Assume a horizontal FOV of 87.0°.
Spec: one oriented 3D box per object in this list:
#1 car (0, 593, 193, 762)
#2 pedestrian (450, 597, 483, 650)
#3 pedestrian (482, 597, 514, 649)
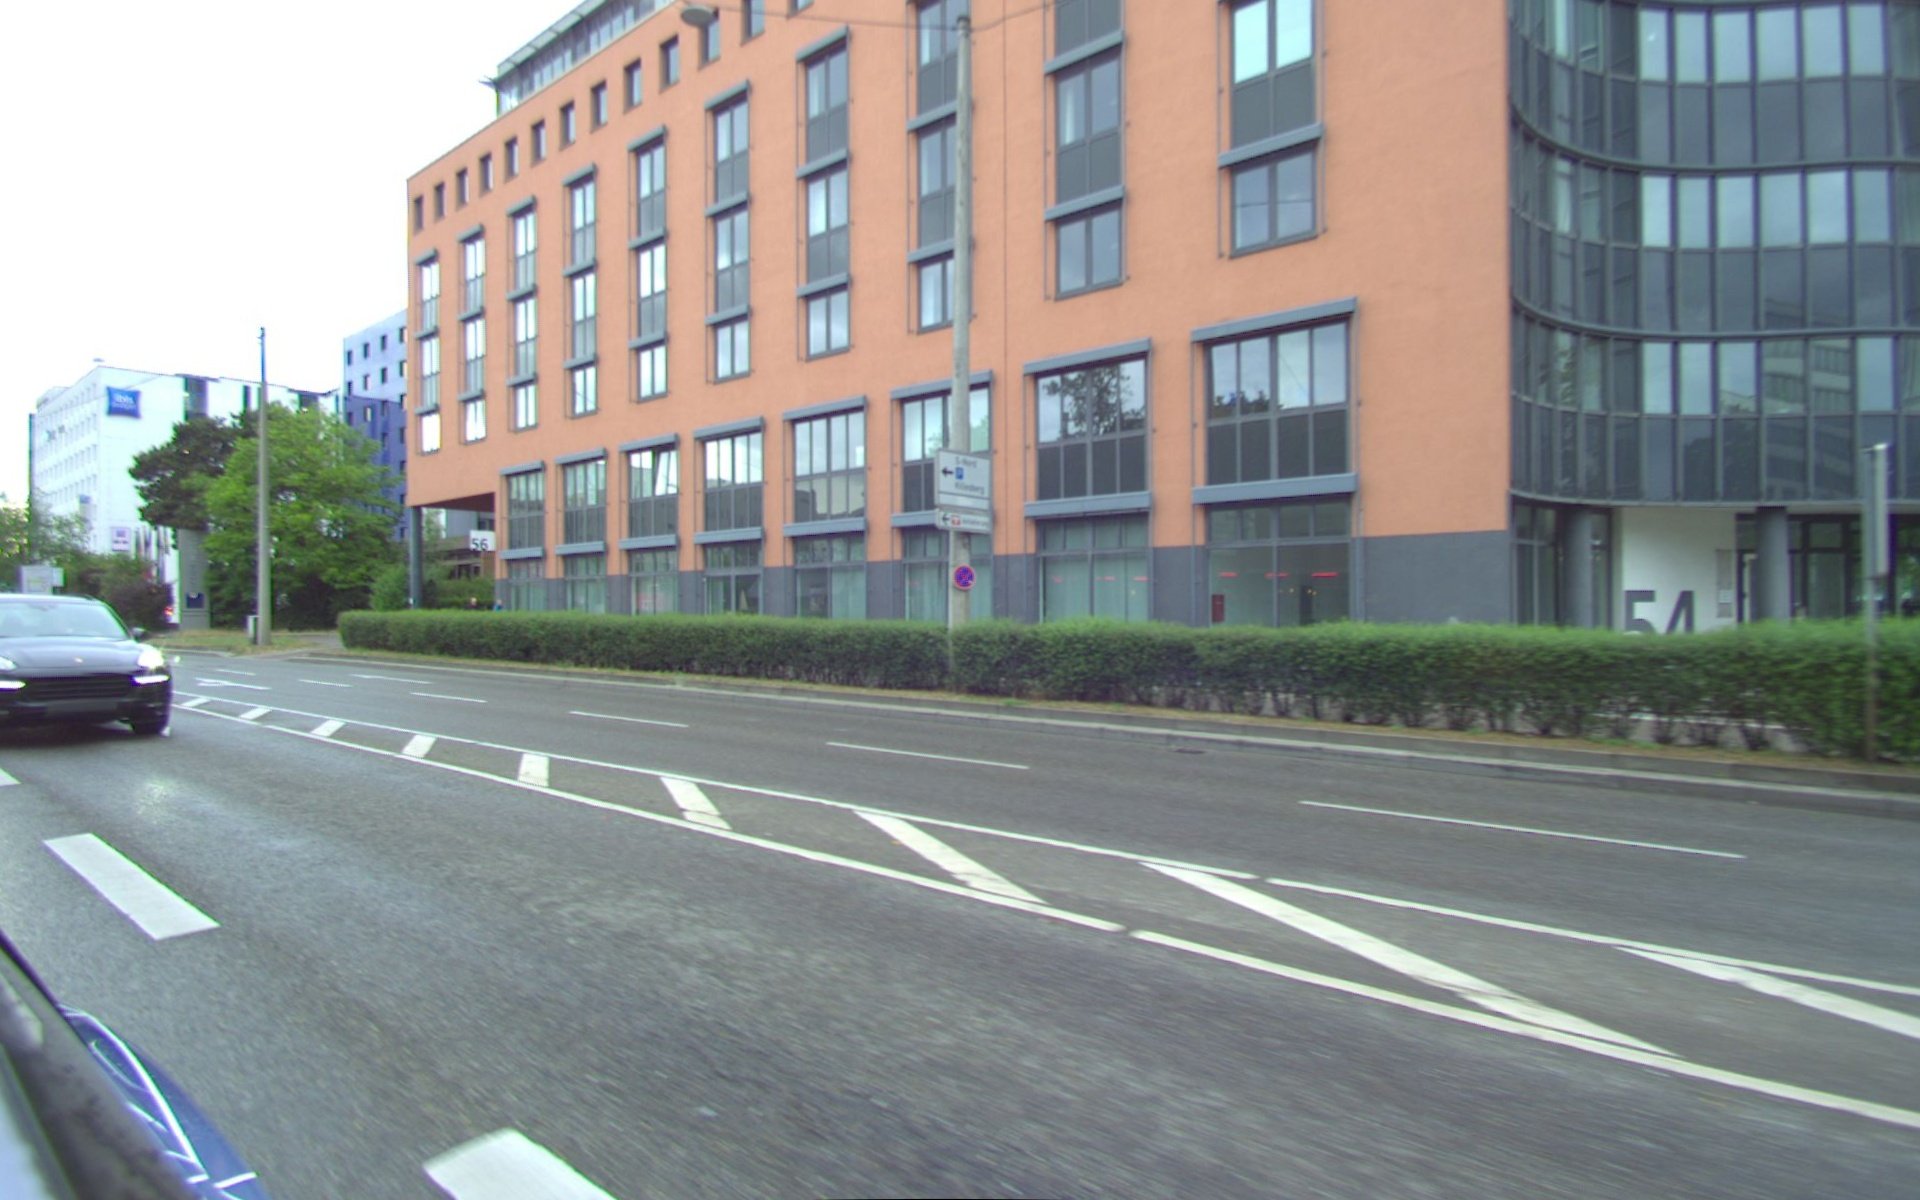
[{"bbox_3d":[-11.217,0.813,12.193,5.419,1.679,1.974,-1,-1,40],"label":"car"},{"bbox_3d":[-17.818,0.842,36.565,0.885,1.855,0.738,-1,0,39],"label":"pedestrian"},{"bbox_3d":[-16.990,0.836,37.210,0.885,1.855,0.738,-1,0,39],"label":"pedestrian"}]
